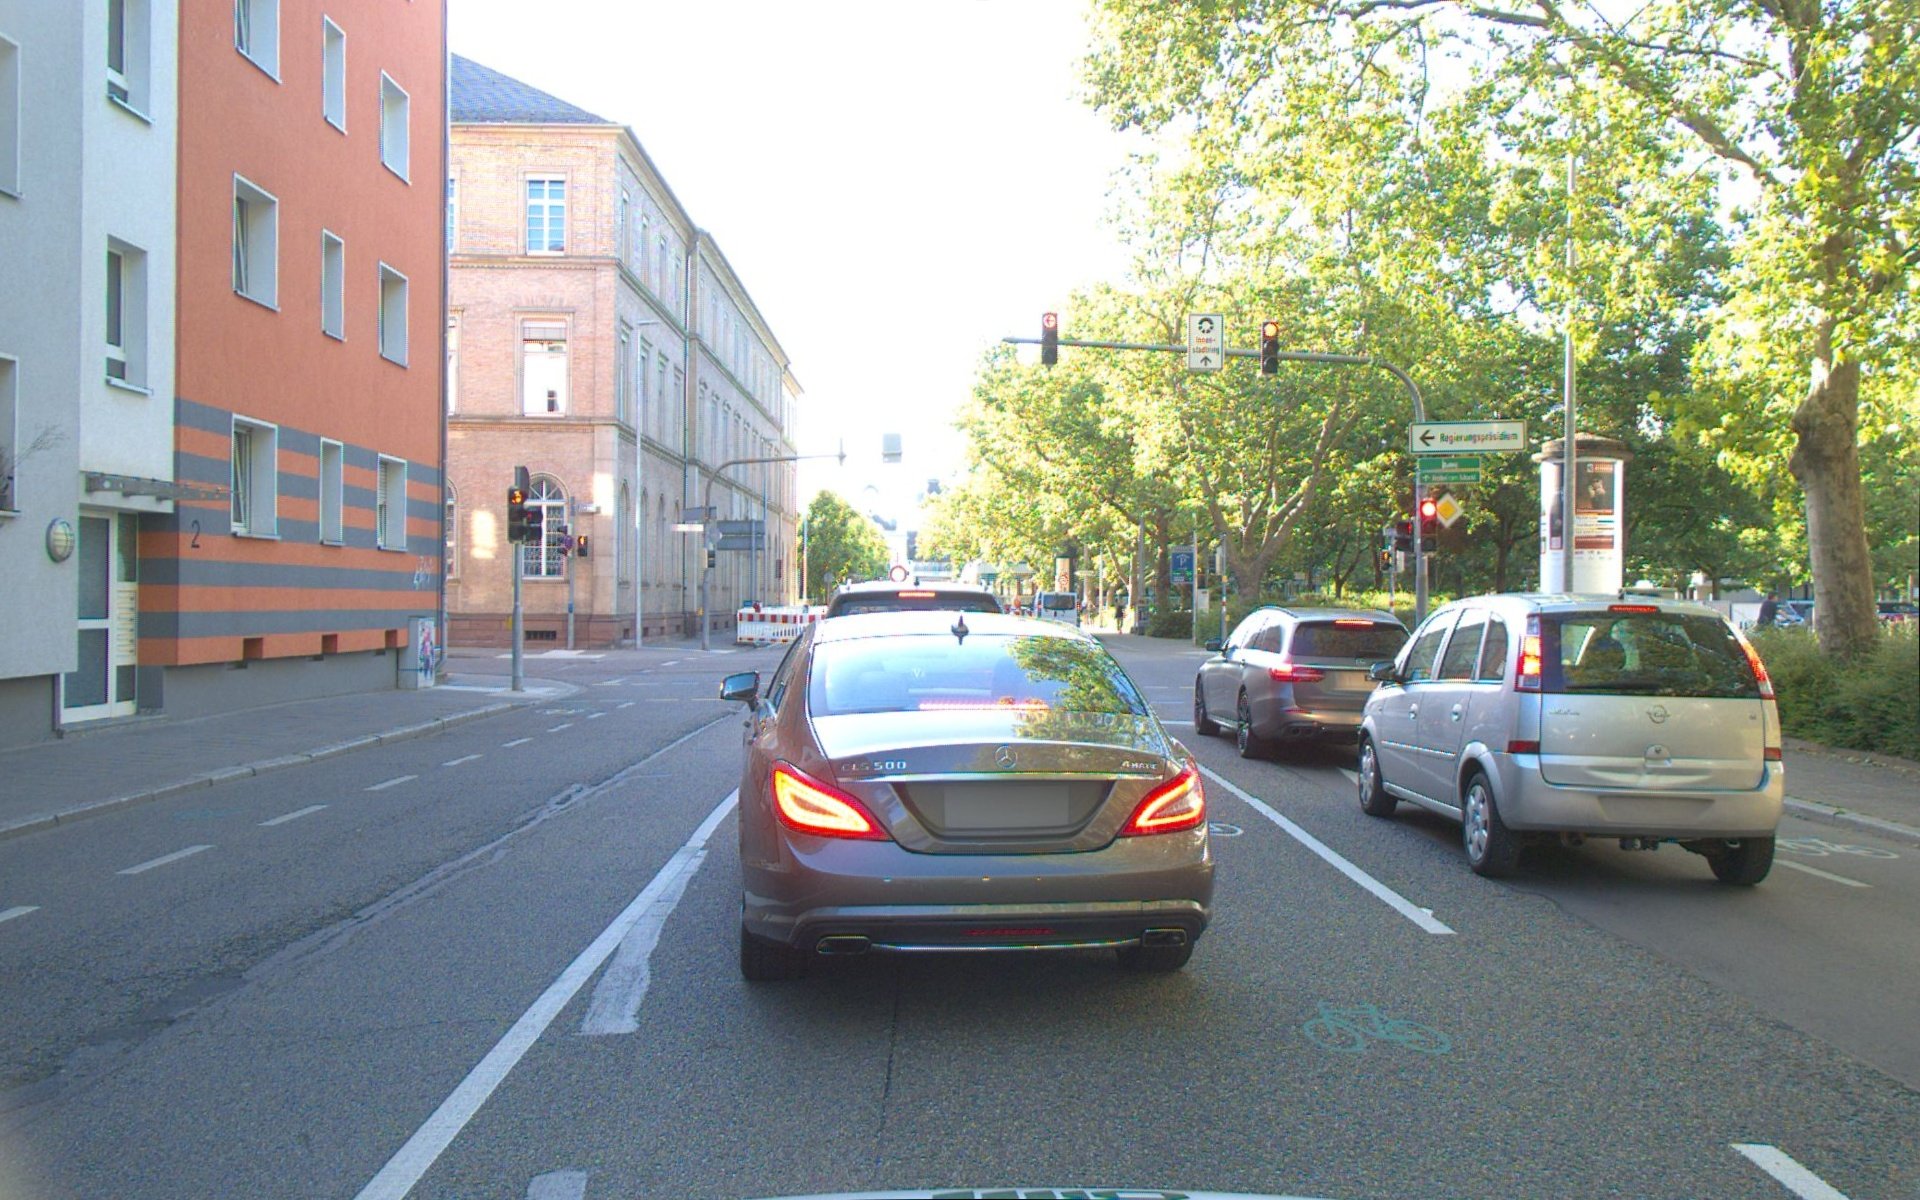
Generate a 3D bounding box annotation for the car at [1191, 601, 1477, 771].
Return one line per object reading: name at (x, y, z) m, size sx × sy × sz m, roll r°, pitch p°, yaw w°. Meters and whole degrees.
car at (3.755, 0.787, 17.488) m, size 1.874 × 1.490 × 4.668 m, roll 2°, pitch 0°, yaw -1°

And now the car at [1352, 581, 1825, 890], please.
car at (3.812, 0.717, 10.763) m, size 1.666 × 1.631 × 3.860 m, roll 1°, pitch 0°, yaw 1°

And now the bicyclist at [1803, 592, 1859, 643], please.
bicyclist at (20.349, 0.408, 38.655) m, size 0.971 × 1.174 × 0.620 m, roll 0°, pitch 0°, yaw 1°

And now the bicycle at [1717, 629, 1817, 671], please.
bicycle at (18.402, 1.144, 37.723) m, size 1.946 × 0.919 × 0.733 m, roll 0°, pitch 0°, yaw -2°

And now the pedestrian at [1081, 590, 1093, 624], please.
pedestrian at (6.985, 0.386, 91.126) m, size 0.591 × 1.853 × 0.651 m, roll 1°, pitch 0°, yaw -1°

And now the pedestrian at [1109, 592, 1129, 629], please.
pedestrian at (7.029, 0.453, 73.235) m, size 0.813 × 1.634 × 0.651 m, roll 1°, pitch 0°, yaw -1°

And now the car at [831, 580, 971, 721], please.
car at (-0.782, 0.645, 23.221) m, size 1.783 × 1.793 × 3.999 m, roll 0°, pitch 0°, yaw -1°

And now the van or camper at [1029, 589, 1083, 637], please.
van or camper at (4.077, 0.537, 70.844) m, size 1.953 × 1.975 × 4.593 m, roll 1°, pitch 0°, yaw -1°

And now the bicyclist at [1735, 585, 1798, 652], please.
bicyclist at (18.385, 0.414, 37.728) m, size 1.094 × 1.516 × 0.711 m, roll 0°, pitch 0°, yaw -2°

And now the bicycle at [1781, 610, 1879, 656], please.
bicycle at (20.329, 0.758, 38.661) m, size 1.940 × 1.045 × 0.651 m, roll 0°, pitch 0°, yaw 0°

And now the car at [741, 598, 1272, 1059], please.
car at (-0.109, 0.747, 7.649) m, size 1.769 × 1.482 × 4.343 m, roll 1°, pitch 0°, yaw -8°

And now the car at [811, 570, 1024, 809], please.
car at (-0.393, 0.631, 13.677) m, size 1.487 × 1.675 × 3.878 m, roll 1°, pitch 0°, yaw -3°
